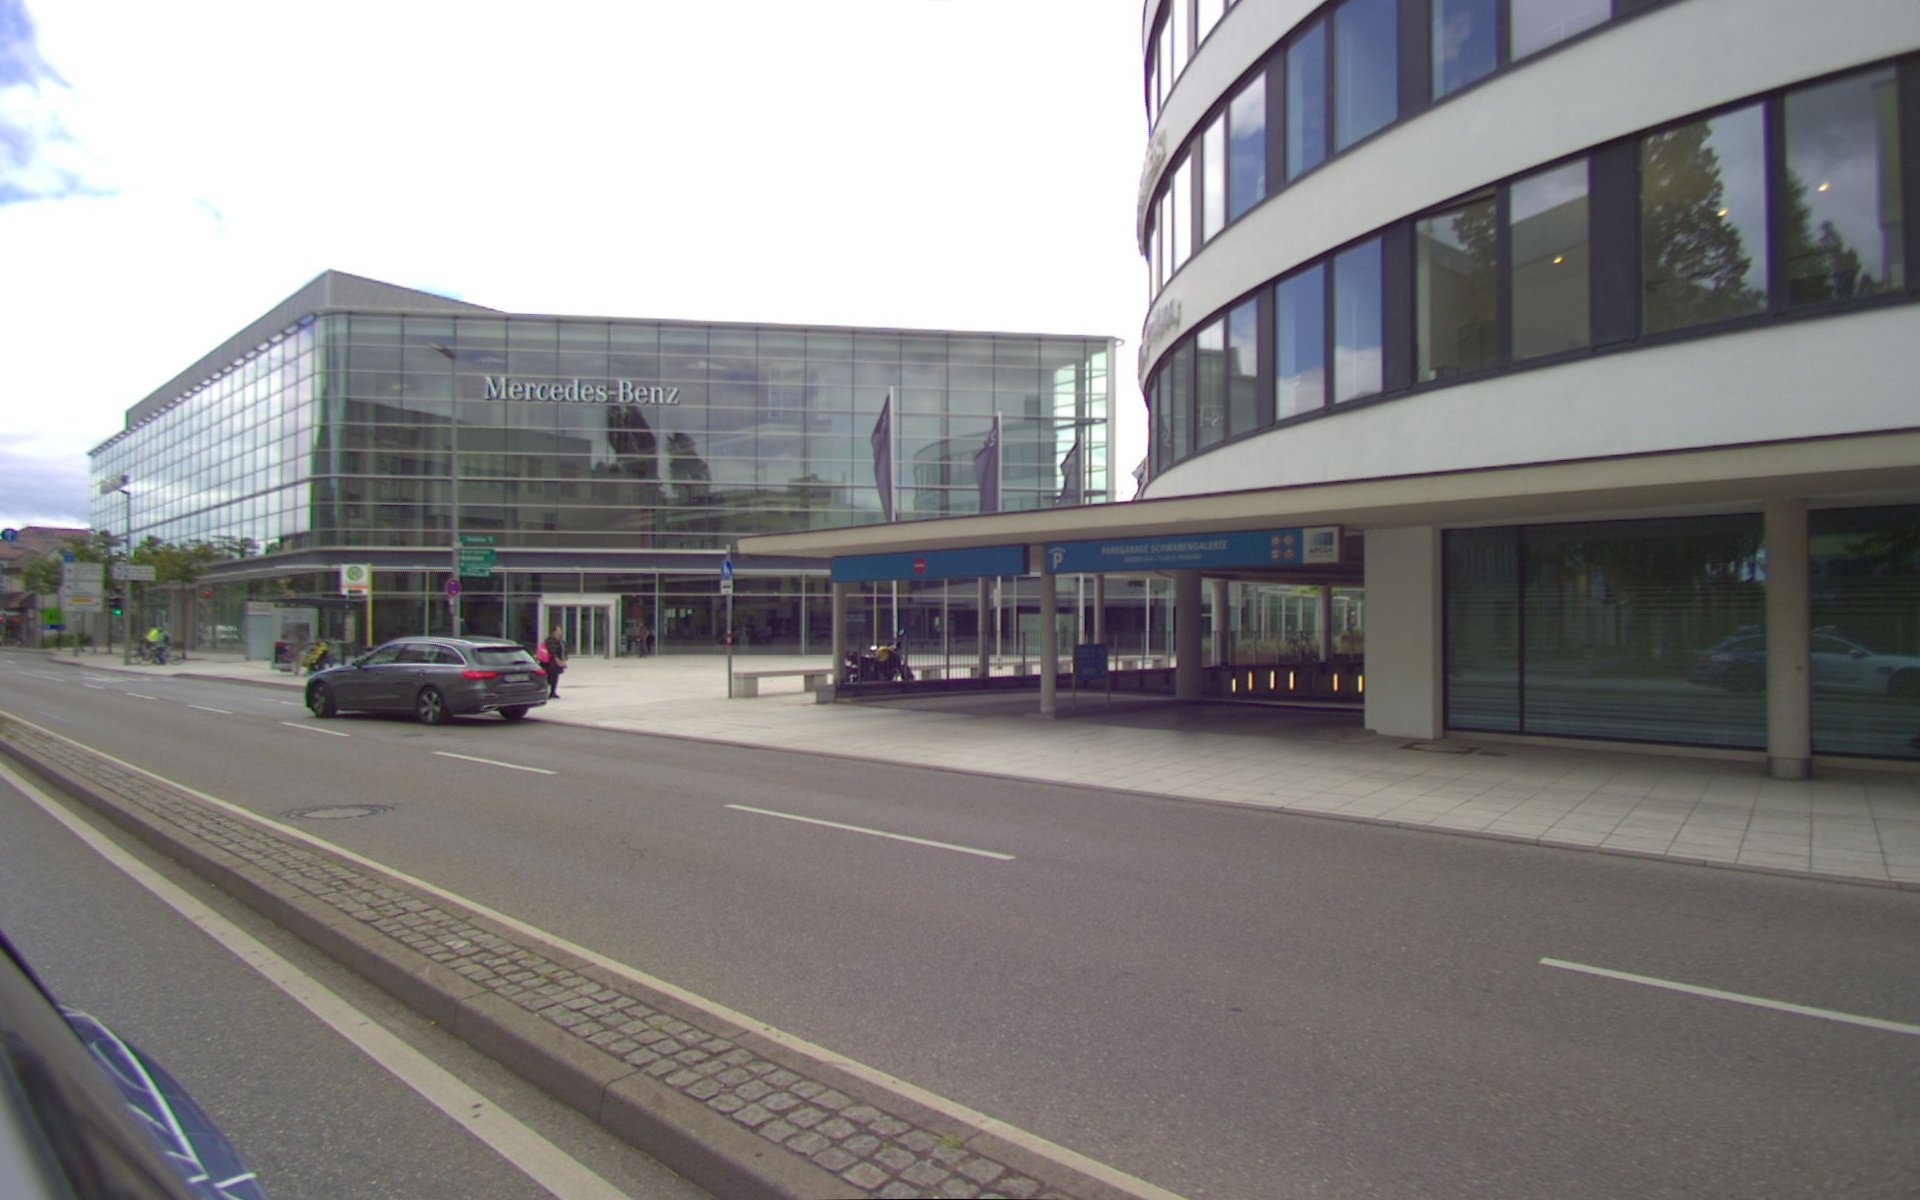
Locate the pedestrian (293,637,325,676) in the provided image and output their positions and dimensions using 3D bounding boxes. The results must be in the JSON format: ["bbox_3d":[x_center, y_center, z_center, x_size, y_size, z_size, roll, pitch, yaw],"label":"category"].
[{"bbox_3d":[-20.990,1.817,32.632,0.576,1.263,0.677,-2,-3,40],"label":"pedestrian"}]

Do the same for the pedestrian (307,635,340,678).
[{"bbox_3d":[-20.004,1.786,31.795,0.576,1.330,0.677,-2,-4,40],"label":"pedestrian"}]
